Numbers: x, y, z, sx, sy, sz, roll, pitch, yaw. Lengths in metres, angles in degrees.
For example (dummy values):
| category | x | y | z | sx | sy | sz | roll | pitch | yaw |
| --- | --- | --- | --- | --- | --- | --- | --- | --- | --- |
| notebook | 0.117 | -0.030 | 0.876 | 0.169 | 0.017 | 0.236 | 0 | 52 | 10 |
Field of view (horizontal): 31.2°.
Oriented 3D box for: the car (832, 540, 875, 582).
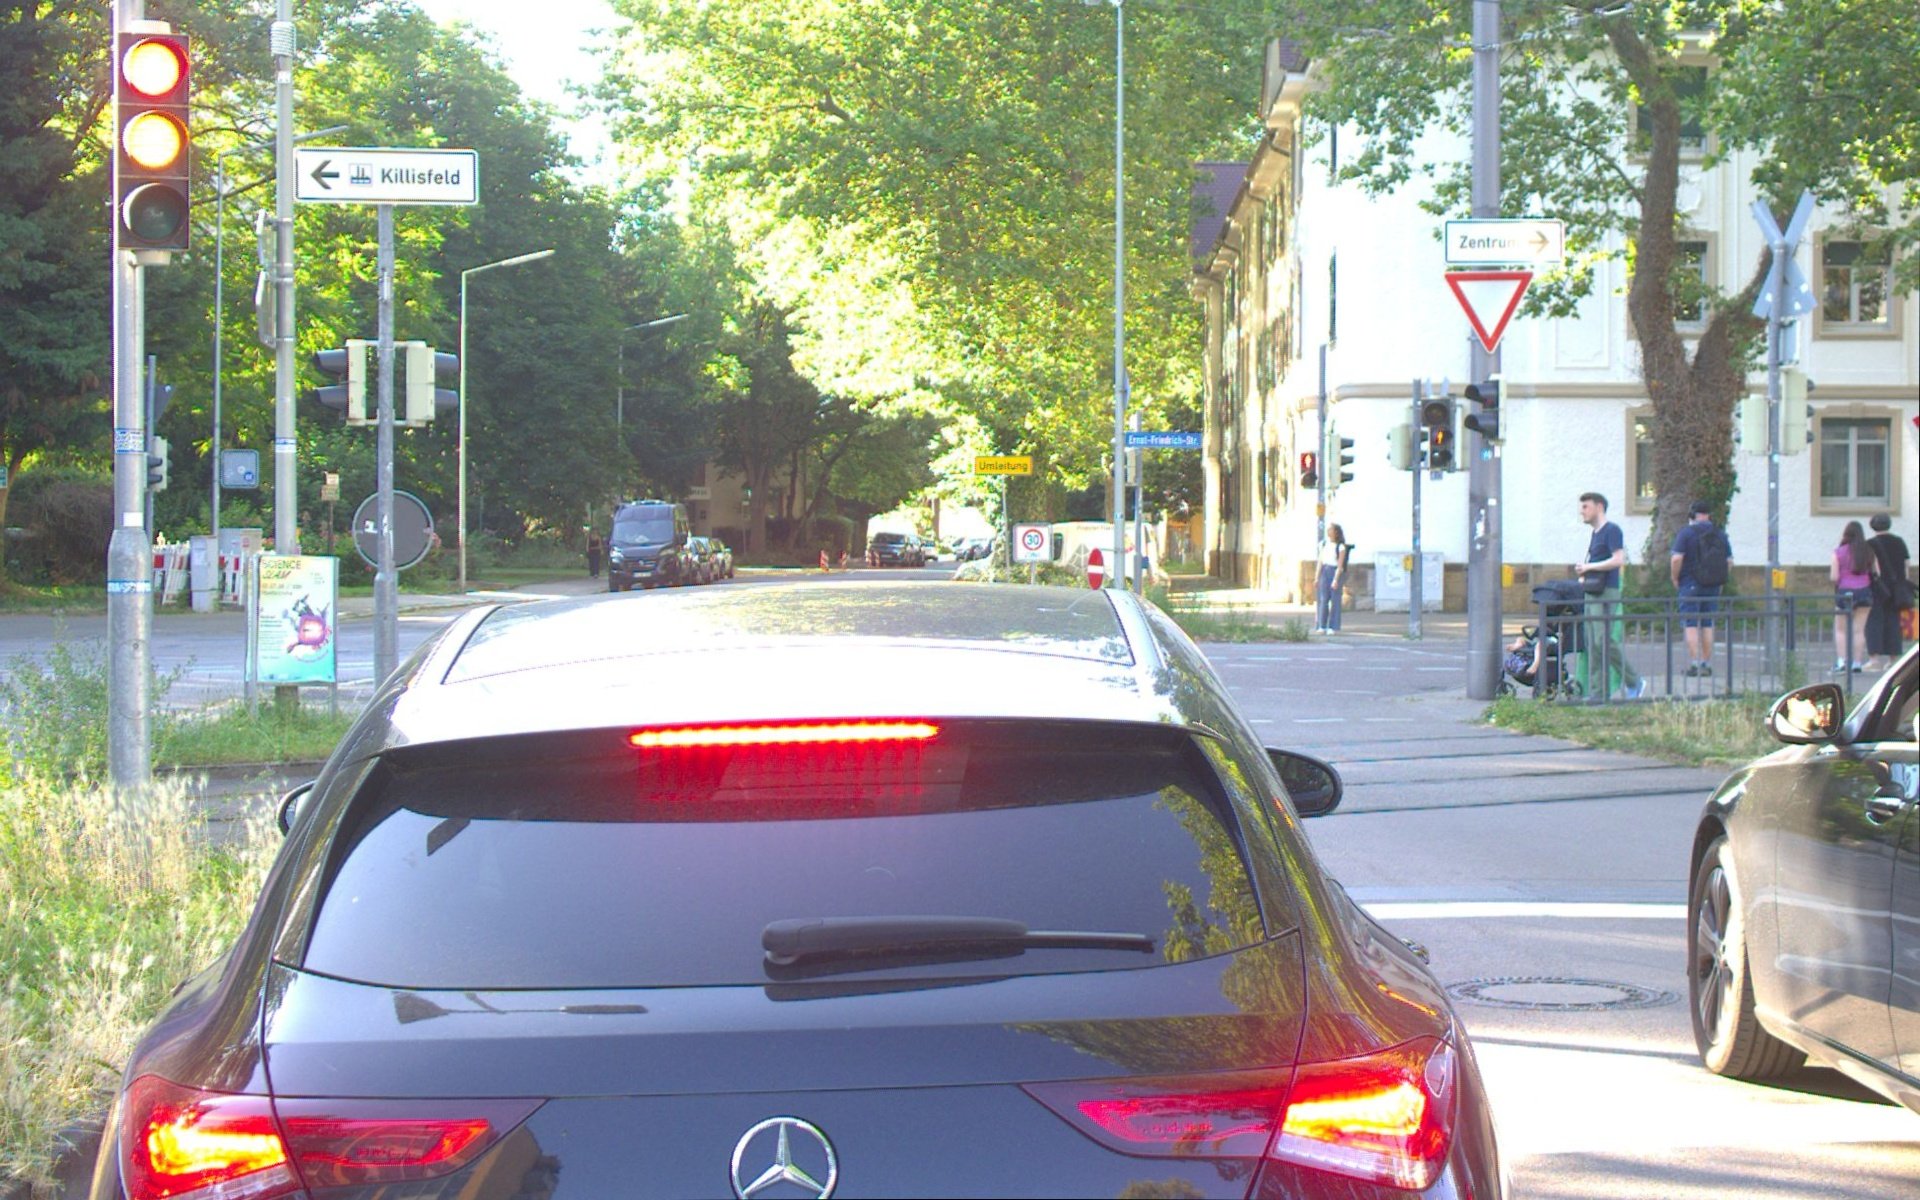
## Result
| category | x | y | z | sx | sy | sz | roll | pitch | yaw |
| --- | --- | --- | --- | --- | --- | --- | --- | --- | --- |
| car | -4.491 | -1.645 | 145.567 | 1.733 | 1.759 | 4.019 | 1 | 1 | -1 |

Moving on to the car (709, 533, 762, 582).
| category | x | y | z | sx | sy | sz | roll | pitch | yaw |
| --- | --- | --- | --- | --- | --- | --- | --- | --- | --- |
| car | -8.235 | -1.566 | 126.406 | 1.733 | 1.759 | 3.971 | 1 | 1 | -1 |

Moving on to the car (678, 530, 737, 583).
| category | x | y | z | sx | sy | sz | roll | pitch | yaw |
| --- | --- | --- | --- | --- | --- | --- | --- | --- | --- |
| car | -8.624 | -1.483 | 117.597 | 1.733 | 1.759 | 4.085 | 1 | 1 | -1 |

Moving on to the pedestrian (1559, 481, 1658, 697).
| category | x | y | z | sx | sy | sz | roll | pitch | yaw |
| --- | --- | --- | --- | --- | --- | --- | --- | --- | --- |
| pedestrian | 5.809 | -0.099 | 30.808 | 0.682 | 1.911 | 0.707 | 1 | 0 | -4 |

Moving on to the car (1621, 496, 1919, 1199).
| category | x | y | z | sx | sy | sz | roll | pitch | yaw |
| --- | --- | --- | --- | --- | --- | --- | --- | --- | --- |
| car | 2.841 | 0.588 | 7.272 | 1.889 | 1.485 | 4.382 | 1 | 3 | -2 |

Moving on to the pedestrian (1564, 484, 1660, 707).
| category | x | y | z | sx | sy | sz | roll | pitch | yaw |
| --- | --- | --- | --- | --- | --- | --- | --- | --- | --- |
| pedestrian | 5.671 | -0.040 | 29.921 | 0.682 | 1.911 | 0.707 | 1 | 0 | 1 |

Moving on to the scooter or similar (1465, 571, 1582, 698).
| category | x | y | z | sx | sy | sz | roll | pitch | yaw |
| --- | --- | --- | --- | --- | --- | --- | --- | --- | --- |
| scooter or similar | 4.997 | 0.301 | 30.504 | 0.828 | 1.101 | 0.809 | 1 | 0 | -6 |

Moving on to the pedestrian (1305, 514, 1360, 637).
| category | x | y | z | sx | sy | sz | roll | pitch | yaw |
| --- | --- | --- | --- | --- | --- | --- | --- | --- | --- |
| pedestrian | 5.851 | -0.392 | 54.049 | 0.705 | 1.911 | 0.839 | 1 | 0 | -4 |

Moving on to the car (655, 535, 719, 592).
| category | x | y | z | sx | sy | sz | roll | pitch | yaw |
| --- | --- | --- | --- | --- | --- | --- | --- | --- | --- |
| car | -8.698 | -1.158 | 109.763 | 1.733 | 1.759 | 4.342 | 1 | 1 | -1 |

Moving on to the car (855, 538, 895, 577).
| category | x | y | z | sx | sy | sz | roll | pitch | yaw |
| --- | --- | --- | --- | --- | --- | --- | --- | --- | --- |
| car | -3.911 | -1.967 | 158.469 | 1.733 | 1.759 | 4.019 | 1 | 1 | -1 |

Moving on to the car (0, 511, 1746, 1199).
| category | x | y | z | sx | sy | sz | roll | pitch | yaw |
| --- | --- | --- | --- | --- | --- | --- | --- | --- | --- |
| car | -0.166 | 0.651 | 5.378 | 1.889 | 1.445 | 4.001 | 1 | 3 | 1 |

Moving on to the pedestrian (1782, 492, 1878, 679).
| category | x | y | z | sx | sy | sz | roll | pitch | yaw |
| --- | --- | --- | --- | --- | --- | --- | --- | --- | --- |
| pedestrian | 9.022 | -0.155 | 35.674 | 0.705 | 1.911 | 0.839 | 1 | 0 | -4 |

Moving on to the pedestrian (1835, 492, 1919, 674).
| category | x | y | z | sx | sy | sz | roll | pitch | yaw |
| --- | --- | --- | --- | --- | --- | --- | --- | --- | --- |
| pedestrian | 9.833 | -0.183 | 36.674 | 0.705 | 1.911 | 0.839 | 1 | 0 | -4 |

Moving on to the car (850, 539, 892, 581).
| category | x | y | z | sx | sy | sz | roll | pitch | yaw |
| --- | --- | --- | --- | --- | --- | --- | --- | --- | --- |
| car | -3.888 | -1.745 | 150.387 | 1.733 | 1.759 | 4.019 | 1 | 1 | -1 |

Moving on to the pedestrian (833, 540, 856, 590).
| category | x | y | z | sx | sy | sz | roll | pitch | yaw |
| --- | --- | --- | --- | --- | --- | --- | --- | --- | --- |
| pedestrian | -4.374 | -1.323 | 130.030 | 0.705 | 1.911 | 0.839 | 1 | 0 | -10 |

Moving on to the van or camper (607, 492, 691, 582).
| category | x | y | z | sx | sy | sz | roll | pitch | yaw |
| --- | --- | --- | --- | --- | --- | --- | --- | --- | --- |
| van or camper | -8.999 | -1.806 | 99.741 | 1.993 | 2.532 | 4.651 | 1 | 1 | 0 |

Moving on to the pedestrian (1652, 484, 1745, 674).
| category | x | y | z | sx | sy | sz | roll | pitch | yaw |
| --- | --- | --- | --- | --- | --- | --- | --- | --- | --- |
| pedestrian | 7.581 | -0.217 | 35.316 | 0.705 | 1.911 | 0.839 | 1 | 0 | -4 |
